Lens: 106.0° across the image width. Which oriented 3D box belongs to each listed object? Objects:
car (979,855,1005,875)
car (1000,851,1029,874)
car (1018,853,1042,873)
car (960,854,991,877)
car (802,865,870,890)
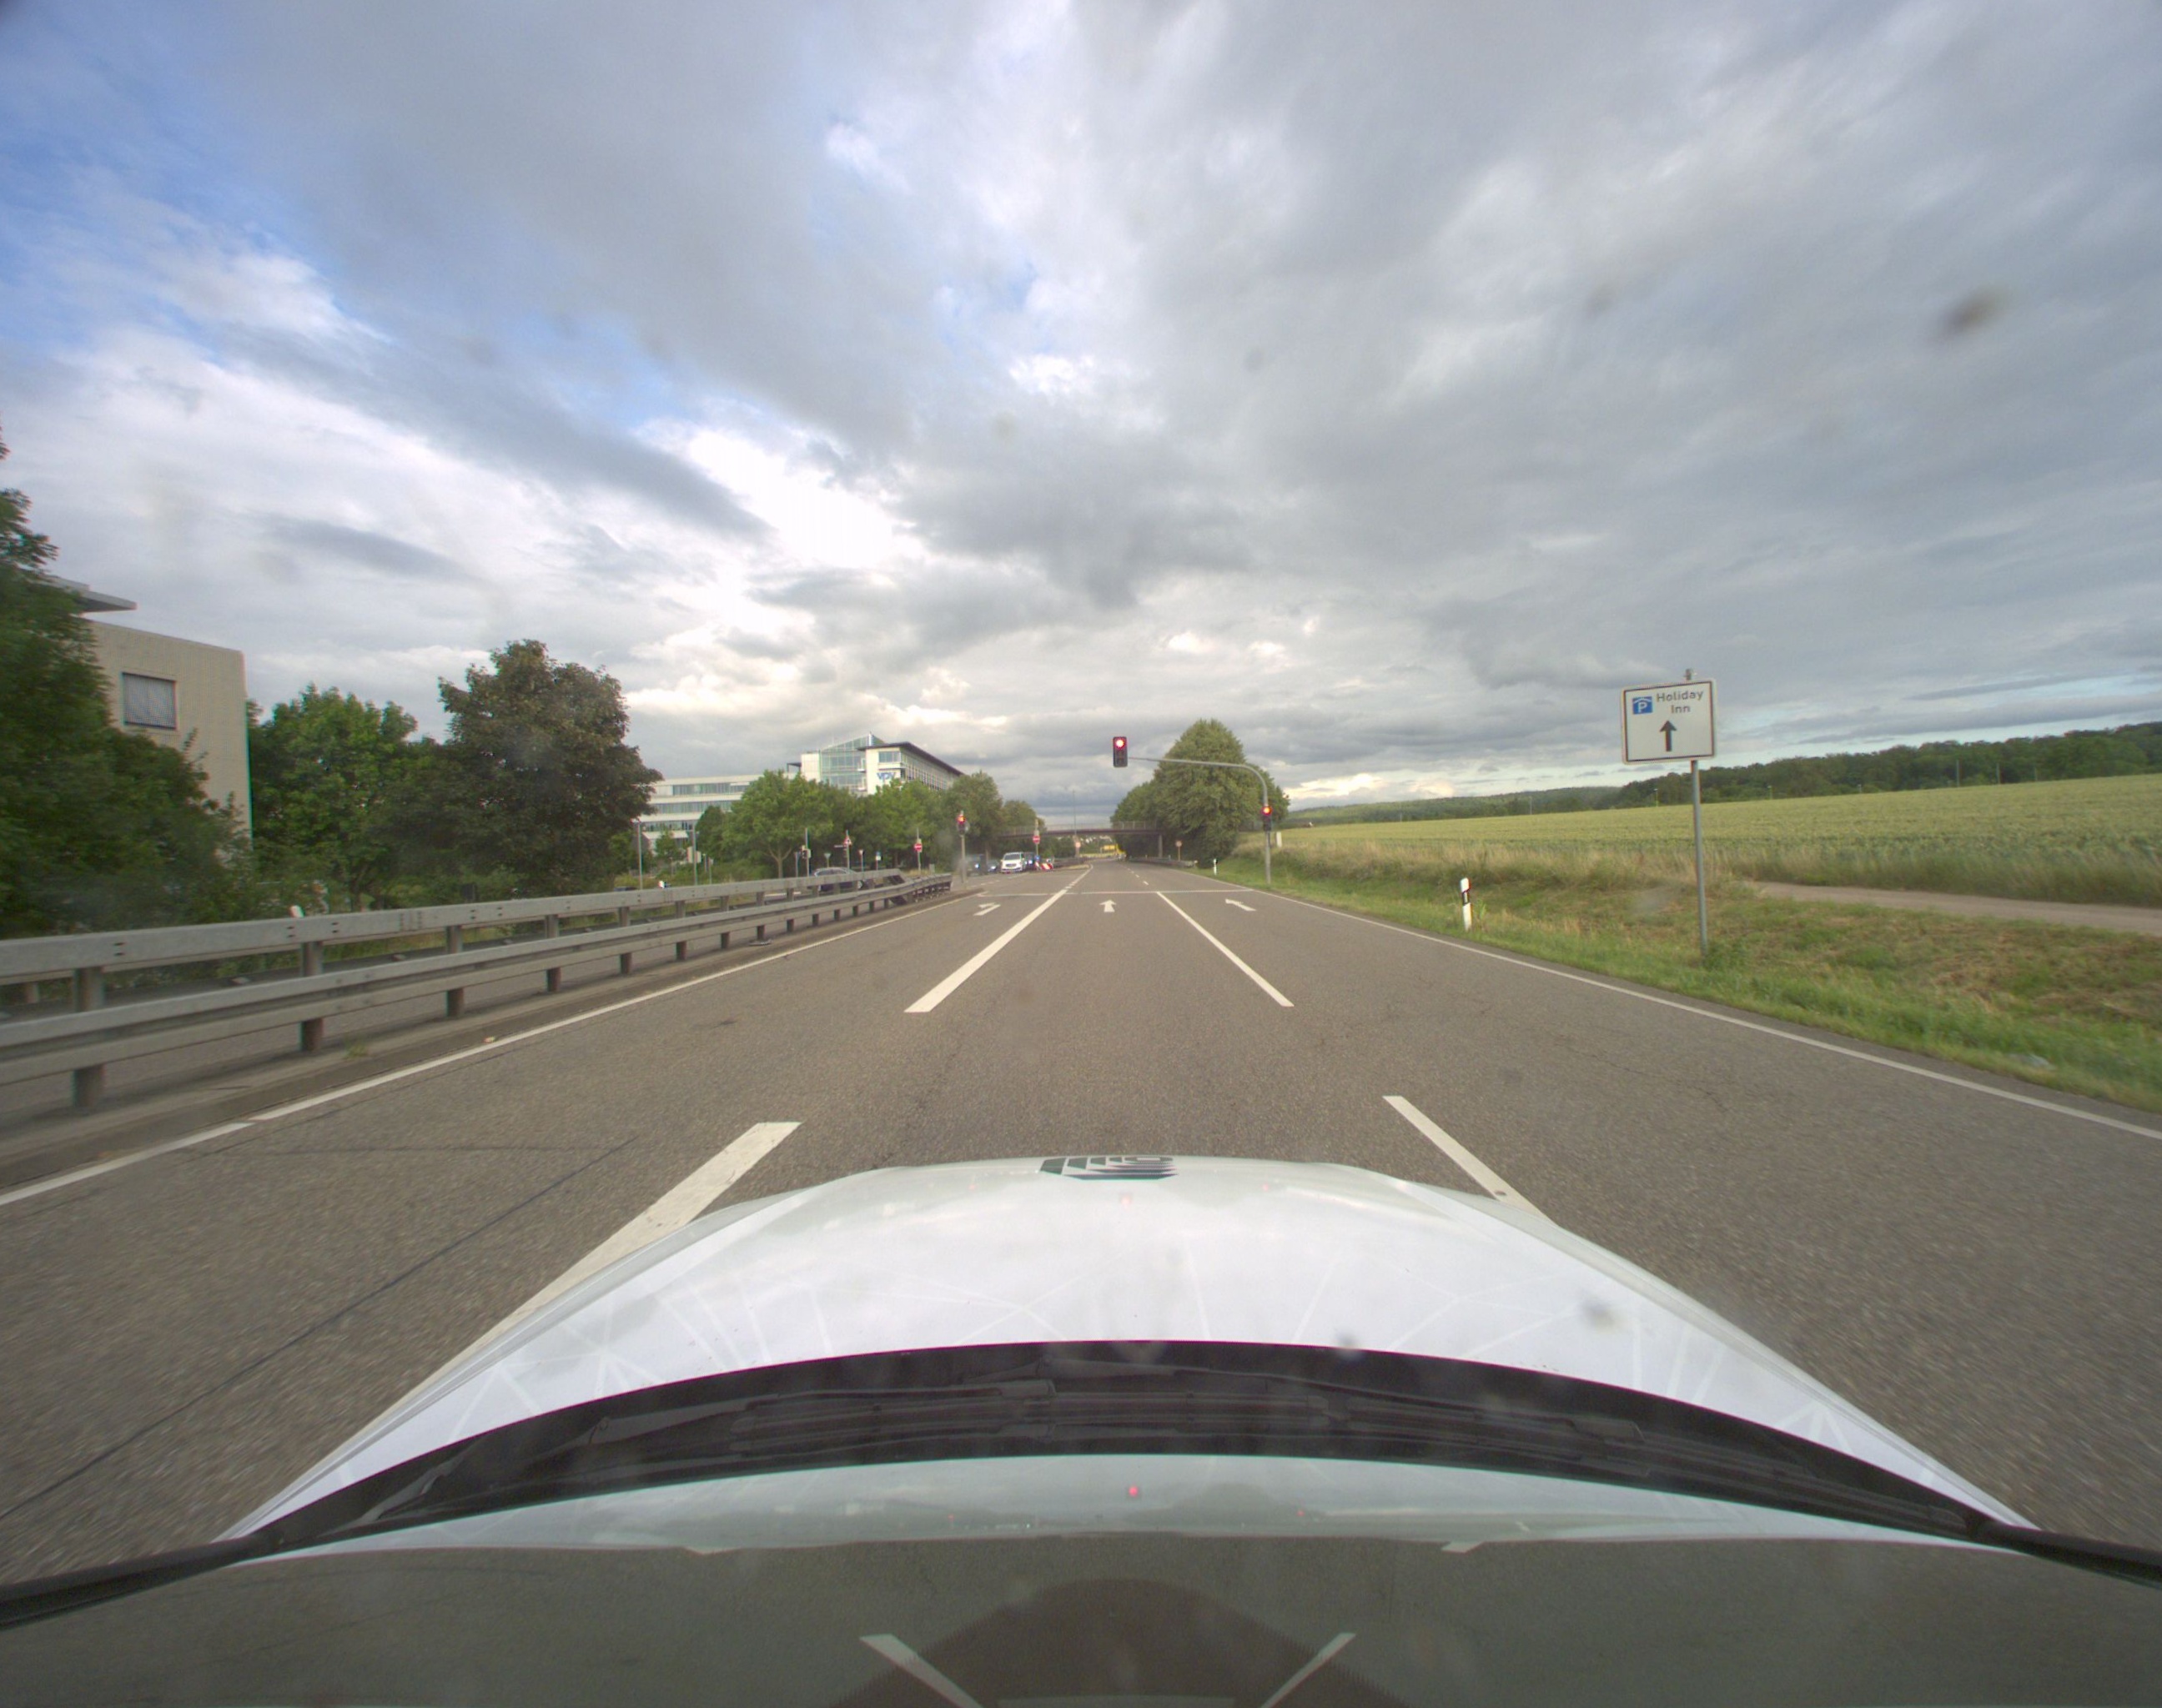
[{"bbox_3d":[-9.004,1.088,82.754,2.076,2.014,5.216,0,0,1],"label":"car"},{"bbox_3d":[-6.103,0.805,75.282,2.076,2.014,5.216,0,0,1],"label":"car"},{"bbox_3d":[-5.163,0.897,82.999,2.076,2.014,5.216,0,0,1],"label":"car"},{"bbox_3d":[-9.723,1.039,75.267,2.076,2.014,5.216,0,0,1],"label":"car"},{"bbox_3d":[-16.015,1.520,53.406,3.985,1.552,1.880,0,-1,-9],"label":"car"}]
